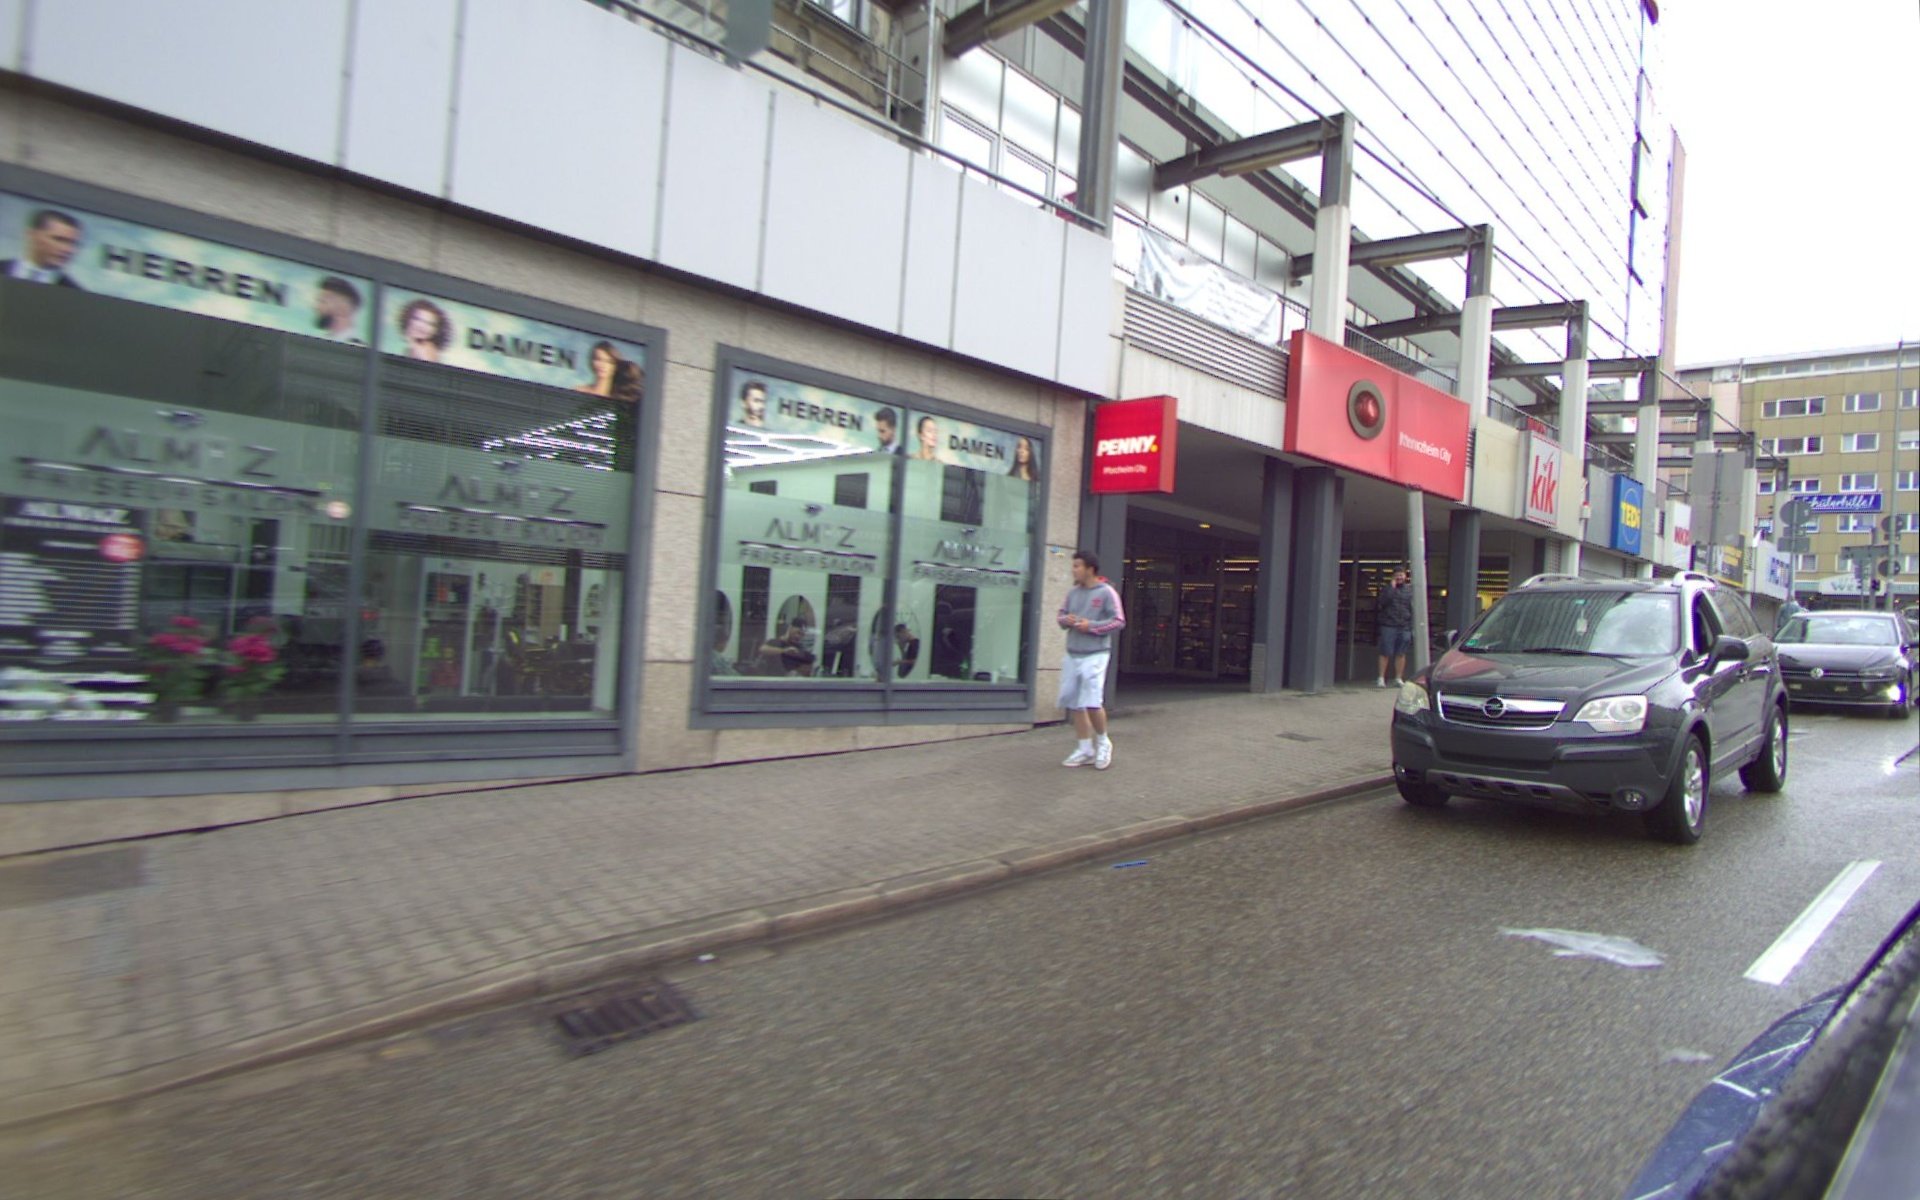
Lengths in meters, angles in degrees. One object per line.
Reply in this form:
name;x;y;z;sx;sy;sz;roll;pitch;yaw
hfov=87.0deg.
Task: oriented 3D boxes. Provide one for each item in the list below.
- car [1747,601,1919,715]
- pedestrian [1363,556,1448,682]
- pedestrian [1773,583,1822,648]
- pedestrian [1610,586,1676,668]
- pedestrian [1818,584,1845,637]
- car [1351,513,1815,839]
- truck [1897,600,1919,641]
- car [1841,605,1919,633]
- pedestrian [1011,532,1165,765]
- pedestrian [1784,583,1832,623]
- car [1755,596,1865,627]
car;13.075;0.777;14.792;3.812;1.449;1.740;1;-2;-41
pedestrian;6.369;0.253;14.485;0.657;1.736;0.819;2;1;-30
pedestrian;23.264;0.427;28.125;0.605;1.744;0.839;2;1;-33
pedestrian;12.938;0.497;19.171;0.690;1.485;0.775;2;1;-33
pedestrian;31.447;0.386;36.507;0.995;1.863;0.599;3;1;-45
car;4.939;0.508;7.778;4.227;1.809;1.909;2;-4;-42
truck;37.097;0.799;37.791;1.835;1.560;3.967;2;1;24
car;58.488;1.191;63.725;1.823;1.570;4.388;1;2;-45
pedestrian;1.020;0.353;8.165;0.813;1.744;0.839;2;1;-33
pedestrian;35.784;0.114;42.721;1.042;1.549;1.025;5;3;10
car;48.345;0.648;57.614;1.768;1.433;4.620;3;1;-45
